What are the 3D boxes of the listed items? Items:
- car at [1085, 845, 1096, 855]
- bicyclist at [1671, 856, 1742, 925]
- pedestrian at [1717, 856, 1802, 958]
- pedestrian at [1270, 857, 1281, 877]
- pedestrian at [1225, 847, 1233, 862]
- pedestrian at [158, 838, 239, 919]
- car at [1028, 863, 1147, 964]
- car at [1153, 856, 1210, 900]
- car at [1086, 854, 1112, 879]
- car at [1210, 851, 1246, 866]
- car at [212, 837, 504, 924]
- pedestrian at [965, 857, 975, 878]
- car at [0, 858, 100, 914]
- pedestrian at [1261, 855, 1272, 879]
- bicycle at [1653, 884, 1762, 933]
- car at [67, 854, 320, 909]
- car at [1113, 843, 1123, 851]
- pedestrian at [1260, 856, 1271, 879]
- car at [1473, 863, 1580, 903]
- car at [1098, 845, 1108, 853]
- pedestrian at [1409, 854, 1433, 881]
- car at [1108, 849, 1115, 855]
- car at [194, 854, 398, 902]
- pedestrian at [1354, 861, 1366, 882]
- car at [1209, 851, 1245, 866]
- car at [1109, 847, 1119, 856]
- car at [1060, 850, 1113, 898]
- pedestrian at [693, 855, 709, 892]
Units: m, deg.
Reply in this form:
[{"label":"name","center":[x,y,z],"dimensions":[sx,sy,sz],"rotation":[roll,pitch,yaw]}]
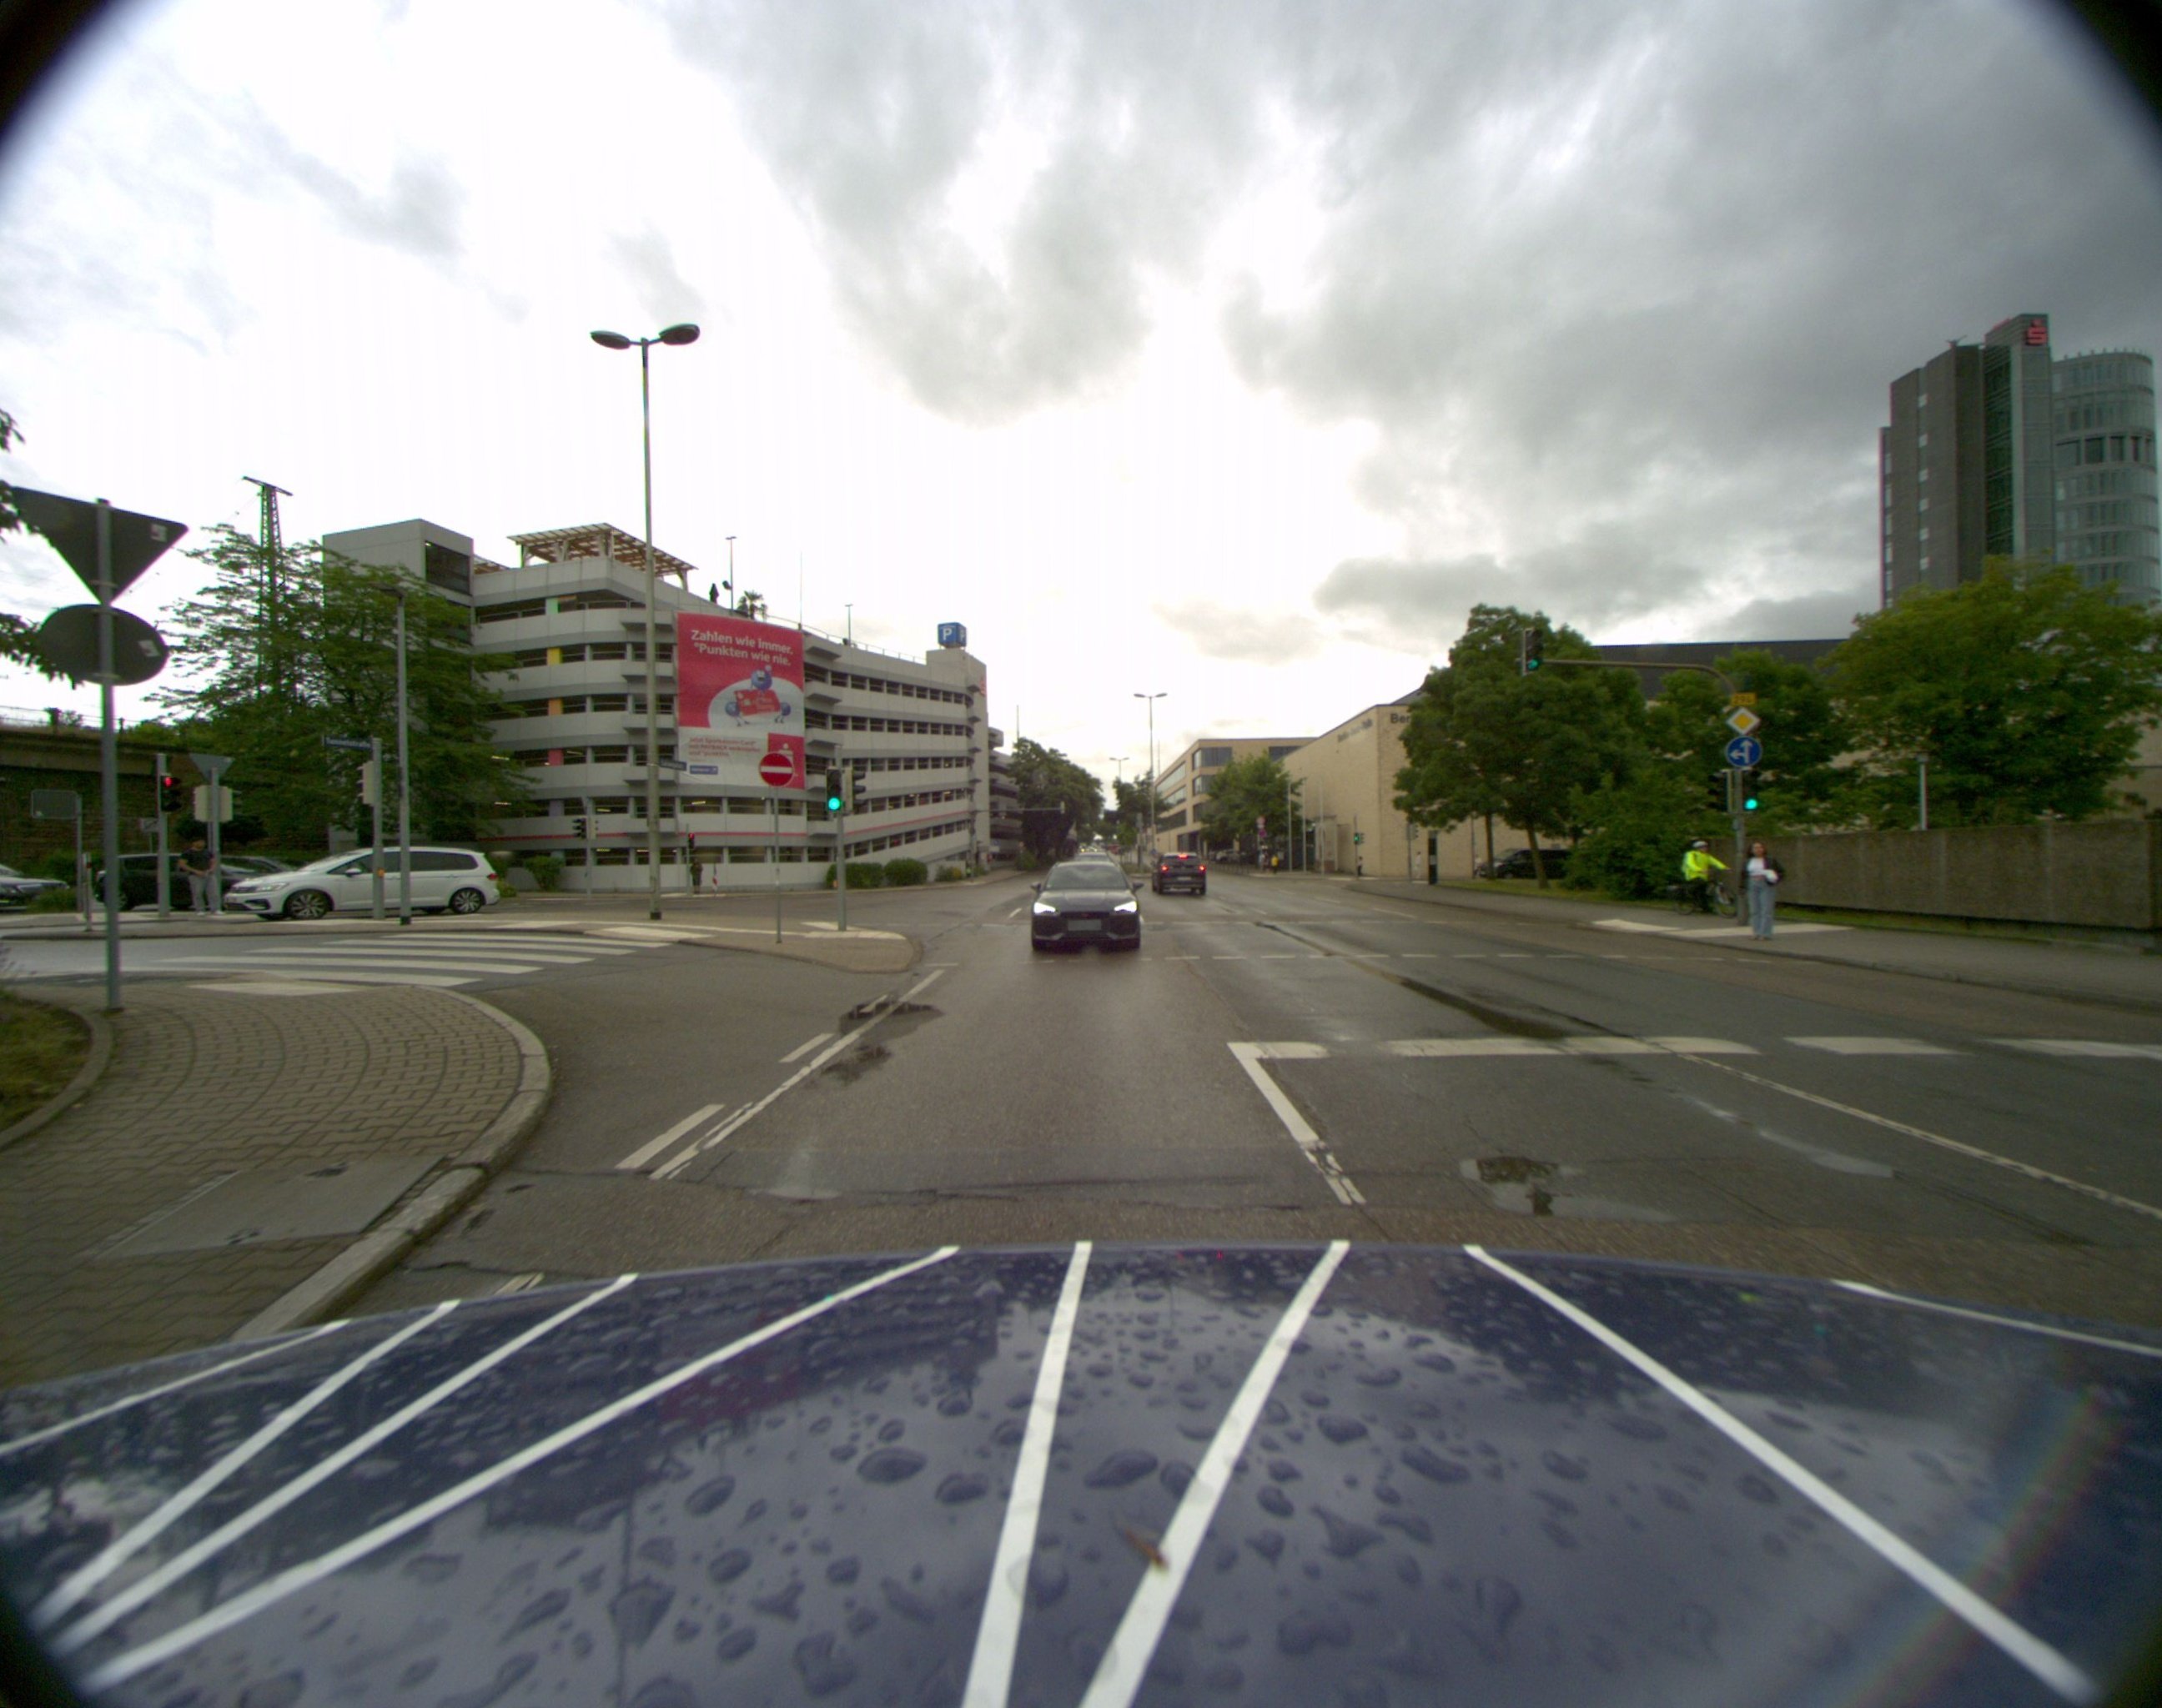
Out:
[{"label":"car","center":[1.761,-0.794,142.396],"dimensions":[1.998,1.716,4.400],"rotation":[0,-1,1]},{"label":"bicyclist","center":[13.598,0.785,16.545],"dimensions":[0.844,1.434,0.812],"rotation":[-2,1,3]},{"label":"pedestrian","center":[11.727,0.887,13.156],"dimensions":[0.719,1.680,0.811],"rotation":[-2,1,3]},{"label":"pedestrian","center":[14.801,0.985,57.853],"dimensions":[0.595,1.507,0.692],"rotation":[-2,1,0]},{"label":"pedestrian","center":[16.994,0.085,87.292],"dimensions":[0.803,1.638,0.976],"rotation":[-2,1,7]},{"label":"pedestrian","center":[-20.213,0.544,17.427],"dimensions":[0.858,1.781,0.774],"rotation":[-2,1,-3]},{"label":"car","center":[0.023,0.915,13.699],"dimensions":[1.739,1.380,4.581],"rotation":[-2,0,-2]},{"label":"car","center":[3.910,0.888,30.169],"dimensions":[1.812,1.585,4.295],"rotation":[-1,0,2]},{"label":"car","center":[1.428,0.933,58.191],"dimensions":[1.804,1.818,3.950],"rotation":[-3,0,2]},{"label":"car","center":[17.811,0.547,92.192],"dimensions":[3.995,1.576,2.001],"rotation":[-2,1,5]},{"label":"car","center":[-16.218,0.645,17.342],"dimensions":[1.995,1.715,4.410],"rotation":[-2,-3,29]},{"label":"pedestrian","center":[-8.750,1.076,60.057],"dimensions":[0.584,1.650,0.519],"rotation":[2,2,18]},{"label":"car","center":[-30.999,0.855,21.207],"dimensions":[4.482,1.436,2.000],"rotation":[1,0,-2]},{"label":"pedestrian","center":[13.783,0.946,56.329],"dimensions":[0.595,1.761,0.692],"rotation":[-2,1,0]},{"label":"bicycle","center":[13.636,1.167,16.621],"dimensions":[0.887,0.902,1.867],"rotation":[-2,0,3]},{"label":"car","center":[-25.112,0.767,21.675],"dimensions":[4.484,1.436,1.999],"rotation":[1,0,-8]},{"label":"car","center":[7.256,-1.303,149.745],"dimensions":[1.675,1.461,4.300],"rotation":[1,0,-1]},{"label":"pedestrian","center":[14.345,1.027,59.016],"dimensions":[0.595,1.721,0.692],"rotation":[-2,1,-4]},{"label":"car","center":[25.028,1.617,42.808],"dimensions":[4.790,1.914,2.000],"rotation":[3,0,-2]},{"label":"car","center":[5.157,-1.243,178.101],"dimensions":[1.999,1.772,3.999],"rotation":[-2,0,-1]},{"label":"pedestrian","center":[22.143,0.886,49.500],"dimensions":[1.113,1.690,0.807],"rotation":[-2,1,-2]},{"label":"car","center":[8.110,-0.619,202.407],"dimensions":[1.675,1.598,4.300],"rotation":[2,0,-1]},{"label":"car","center":[-25.604,0.762,24.924],"dimensions":[4.482,1.436,2.000],"rotation":[1,0,-2]},{"label":"pedestrian","center":[18.697,1.151,50.953],"dimensions":[0.622,1.368,0.475],"rotation":[-2,1,2]},{"label":"car","center":[17.249,0.515,89.806],"dimensions":[3.995,1.576,2.001],"rotation":[-2,1,5]},{"label":"car","center":[7.382,-0.621,170.594],"dimensions":[1.855,1.841,4.300],"rotation":[2,0,-1]},{"label":"car","center":[0.261,0.700,29.082],"dimensions":[1.845,1.647,4.000],"rotation":[-2,0,2]},{"label":"pedestrian","center":[-19.292,0.998,38.543],"dimensions":[0.546,1.879,0.506],"rotation":[3,0,-39]}]
